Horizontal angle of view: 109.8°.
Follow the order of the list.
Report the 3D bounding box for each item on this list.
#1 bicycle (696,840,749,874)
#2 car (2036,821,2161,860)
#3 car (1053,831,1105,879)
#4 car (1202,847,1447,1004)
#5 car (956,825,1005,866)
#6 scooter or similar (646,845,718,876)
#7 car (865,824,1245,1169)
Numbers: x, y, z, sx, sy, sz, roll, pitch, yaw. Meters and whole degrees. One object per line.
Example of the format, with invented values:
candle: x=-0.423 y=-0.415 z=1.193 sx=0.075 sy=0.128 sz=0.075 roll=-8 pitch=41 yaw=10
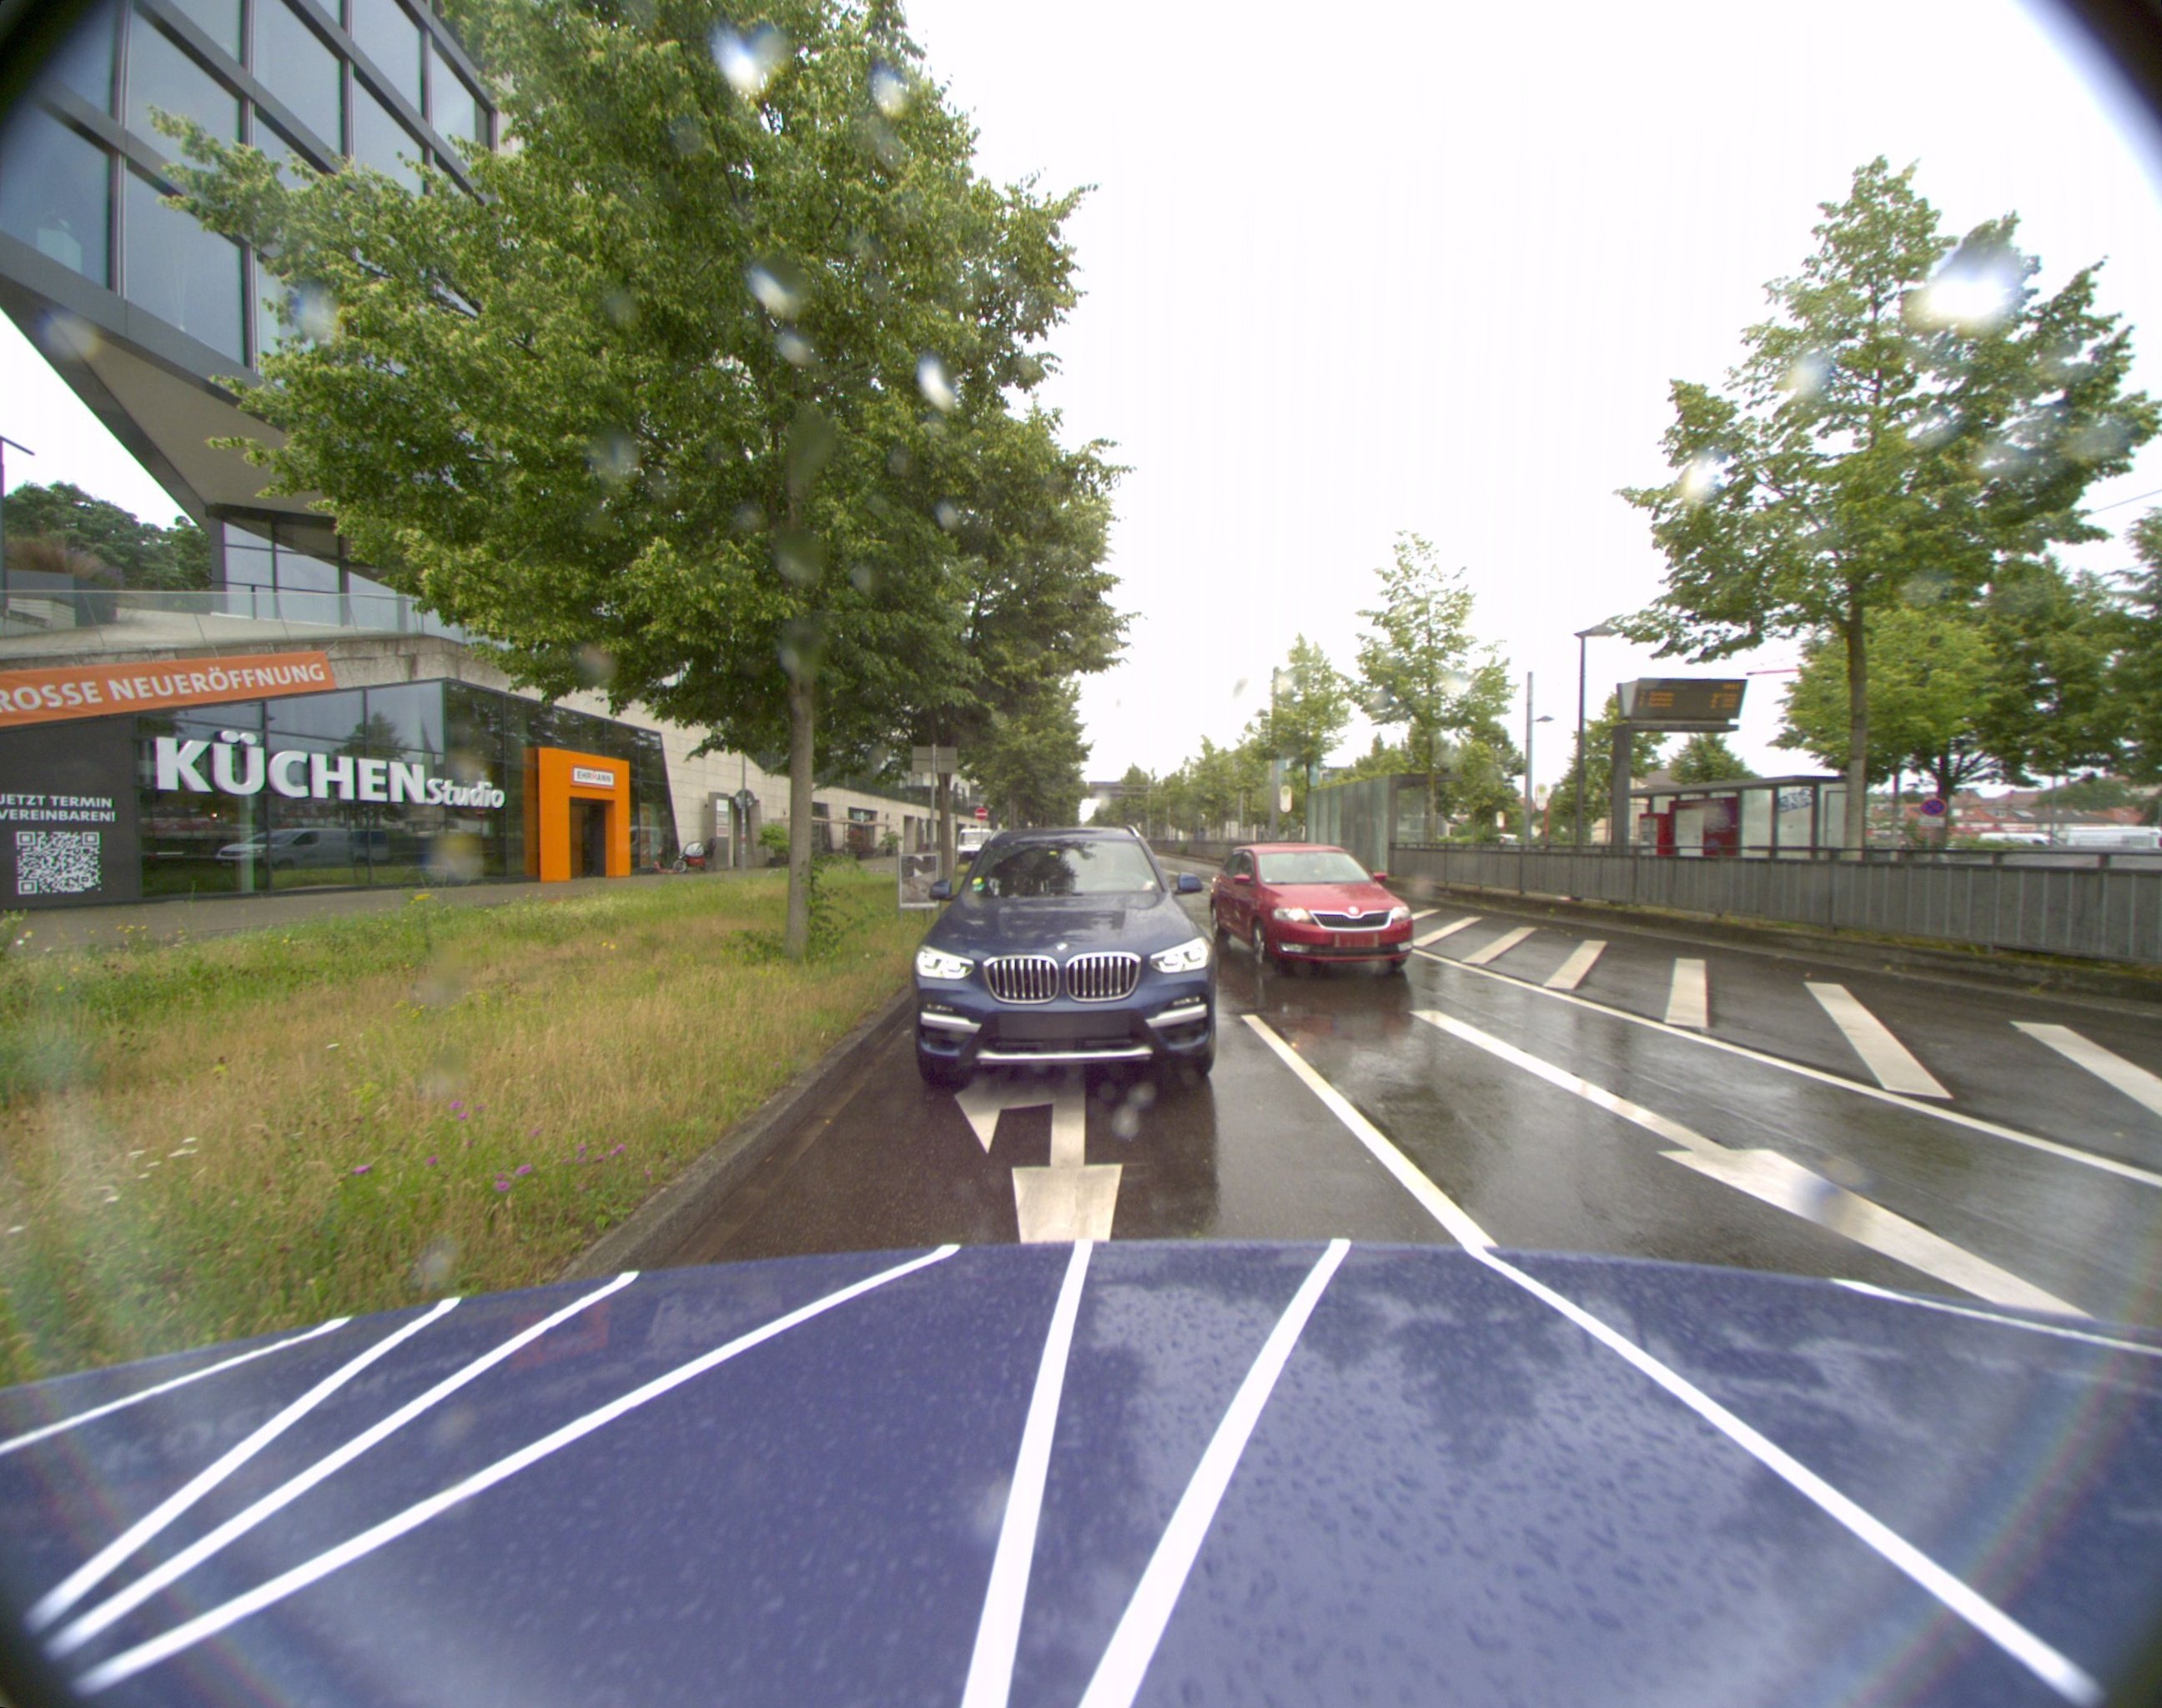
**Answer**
bicycle: x=-15.383 y=0.088 z=32.688 sx=0.882 sy=1.340 sz=2.696 roll=-2 pitch=2 yaw=1
car: x=70.168 y=-0.939 z=50.997 sx=2.356 sy=2.462 sz=7.635 roll=-2 pitch=1 yaw=-3
car: x=-0.046 y=-0.020 z=29.207 sx=1.788 sy=1.638 sz=3.999 roll=-2 pitch=1 yaw=1
car: x=2.803 y=0.703 z=9.807 sx=1.788 sy=1.451 sz=4.314 roll=-2 pitch=1 yaw=1
car: x=-5.833 y=-0.551 z=44.680 sx=2.084 sy=2.189 sz=5.096 roll=-2 pitch=1 yaw=1
scooter or similar: x=-15.523 y=0.225 z=29.653 sx=0.810 sy=1.093 sz=2.617 roll=-2 pitch=2 yaw=18
car: x=-0.106 y=0.751 z=6.159 sx=1.916 sy=1.736 sz=4.383 roll=-2 pitch=0 yaw=1
